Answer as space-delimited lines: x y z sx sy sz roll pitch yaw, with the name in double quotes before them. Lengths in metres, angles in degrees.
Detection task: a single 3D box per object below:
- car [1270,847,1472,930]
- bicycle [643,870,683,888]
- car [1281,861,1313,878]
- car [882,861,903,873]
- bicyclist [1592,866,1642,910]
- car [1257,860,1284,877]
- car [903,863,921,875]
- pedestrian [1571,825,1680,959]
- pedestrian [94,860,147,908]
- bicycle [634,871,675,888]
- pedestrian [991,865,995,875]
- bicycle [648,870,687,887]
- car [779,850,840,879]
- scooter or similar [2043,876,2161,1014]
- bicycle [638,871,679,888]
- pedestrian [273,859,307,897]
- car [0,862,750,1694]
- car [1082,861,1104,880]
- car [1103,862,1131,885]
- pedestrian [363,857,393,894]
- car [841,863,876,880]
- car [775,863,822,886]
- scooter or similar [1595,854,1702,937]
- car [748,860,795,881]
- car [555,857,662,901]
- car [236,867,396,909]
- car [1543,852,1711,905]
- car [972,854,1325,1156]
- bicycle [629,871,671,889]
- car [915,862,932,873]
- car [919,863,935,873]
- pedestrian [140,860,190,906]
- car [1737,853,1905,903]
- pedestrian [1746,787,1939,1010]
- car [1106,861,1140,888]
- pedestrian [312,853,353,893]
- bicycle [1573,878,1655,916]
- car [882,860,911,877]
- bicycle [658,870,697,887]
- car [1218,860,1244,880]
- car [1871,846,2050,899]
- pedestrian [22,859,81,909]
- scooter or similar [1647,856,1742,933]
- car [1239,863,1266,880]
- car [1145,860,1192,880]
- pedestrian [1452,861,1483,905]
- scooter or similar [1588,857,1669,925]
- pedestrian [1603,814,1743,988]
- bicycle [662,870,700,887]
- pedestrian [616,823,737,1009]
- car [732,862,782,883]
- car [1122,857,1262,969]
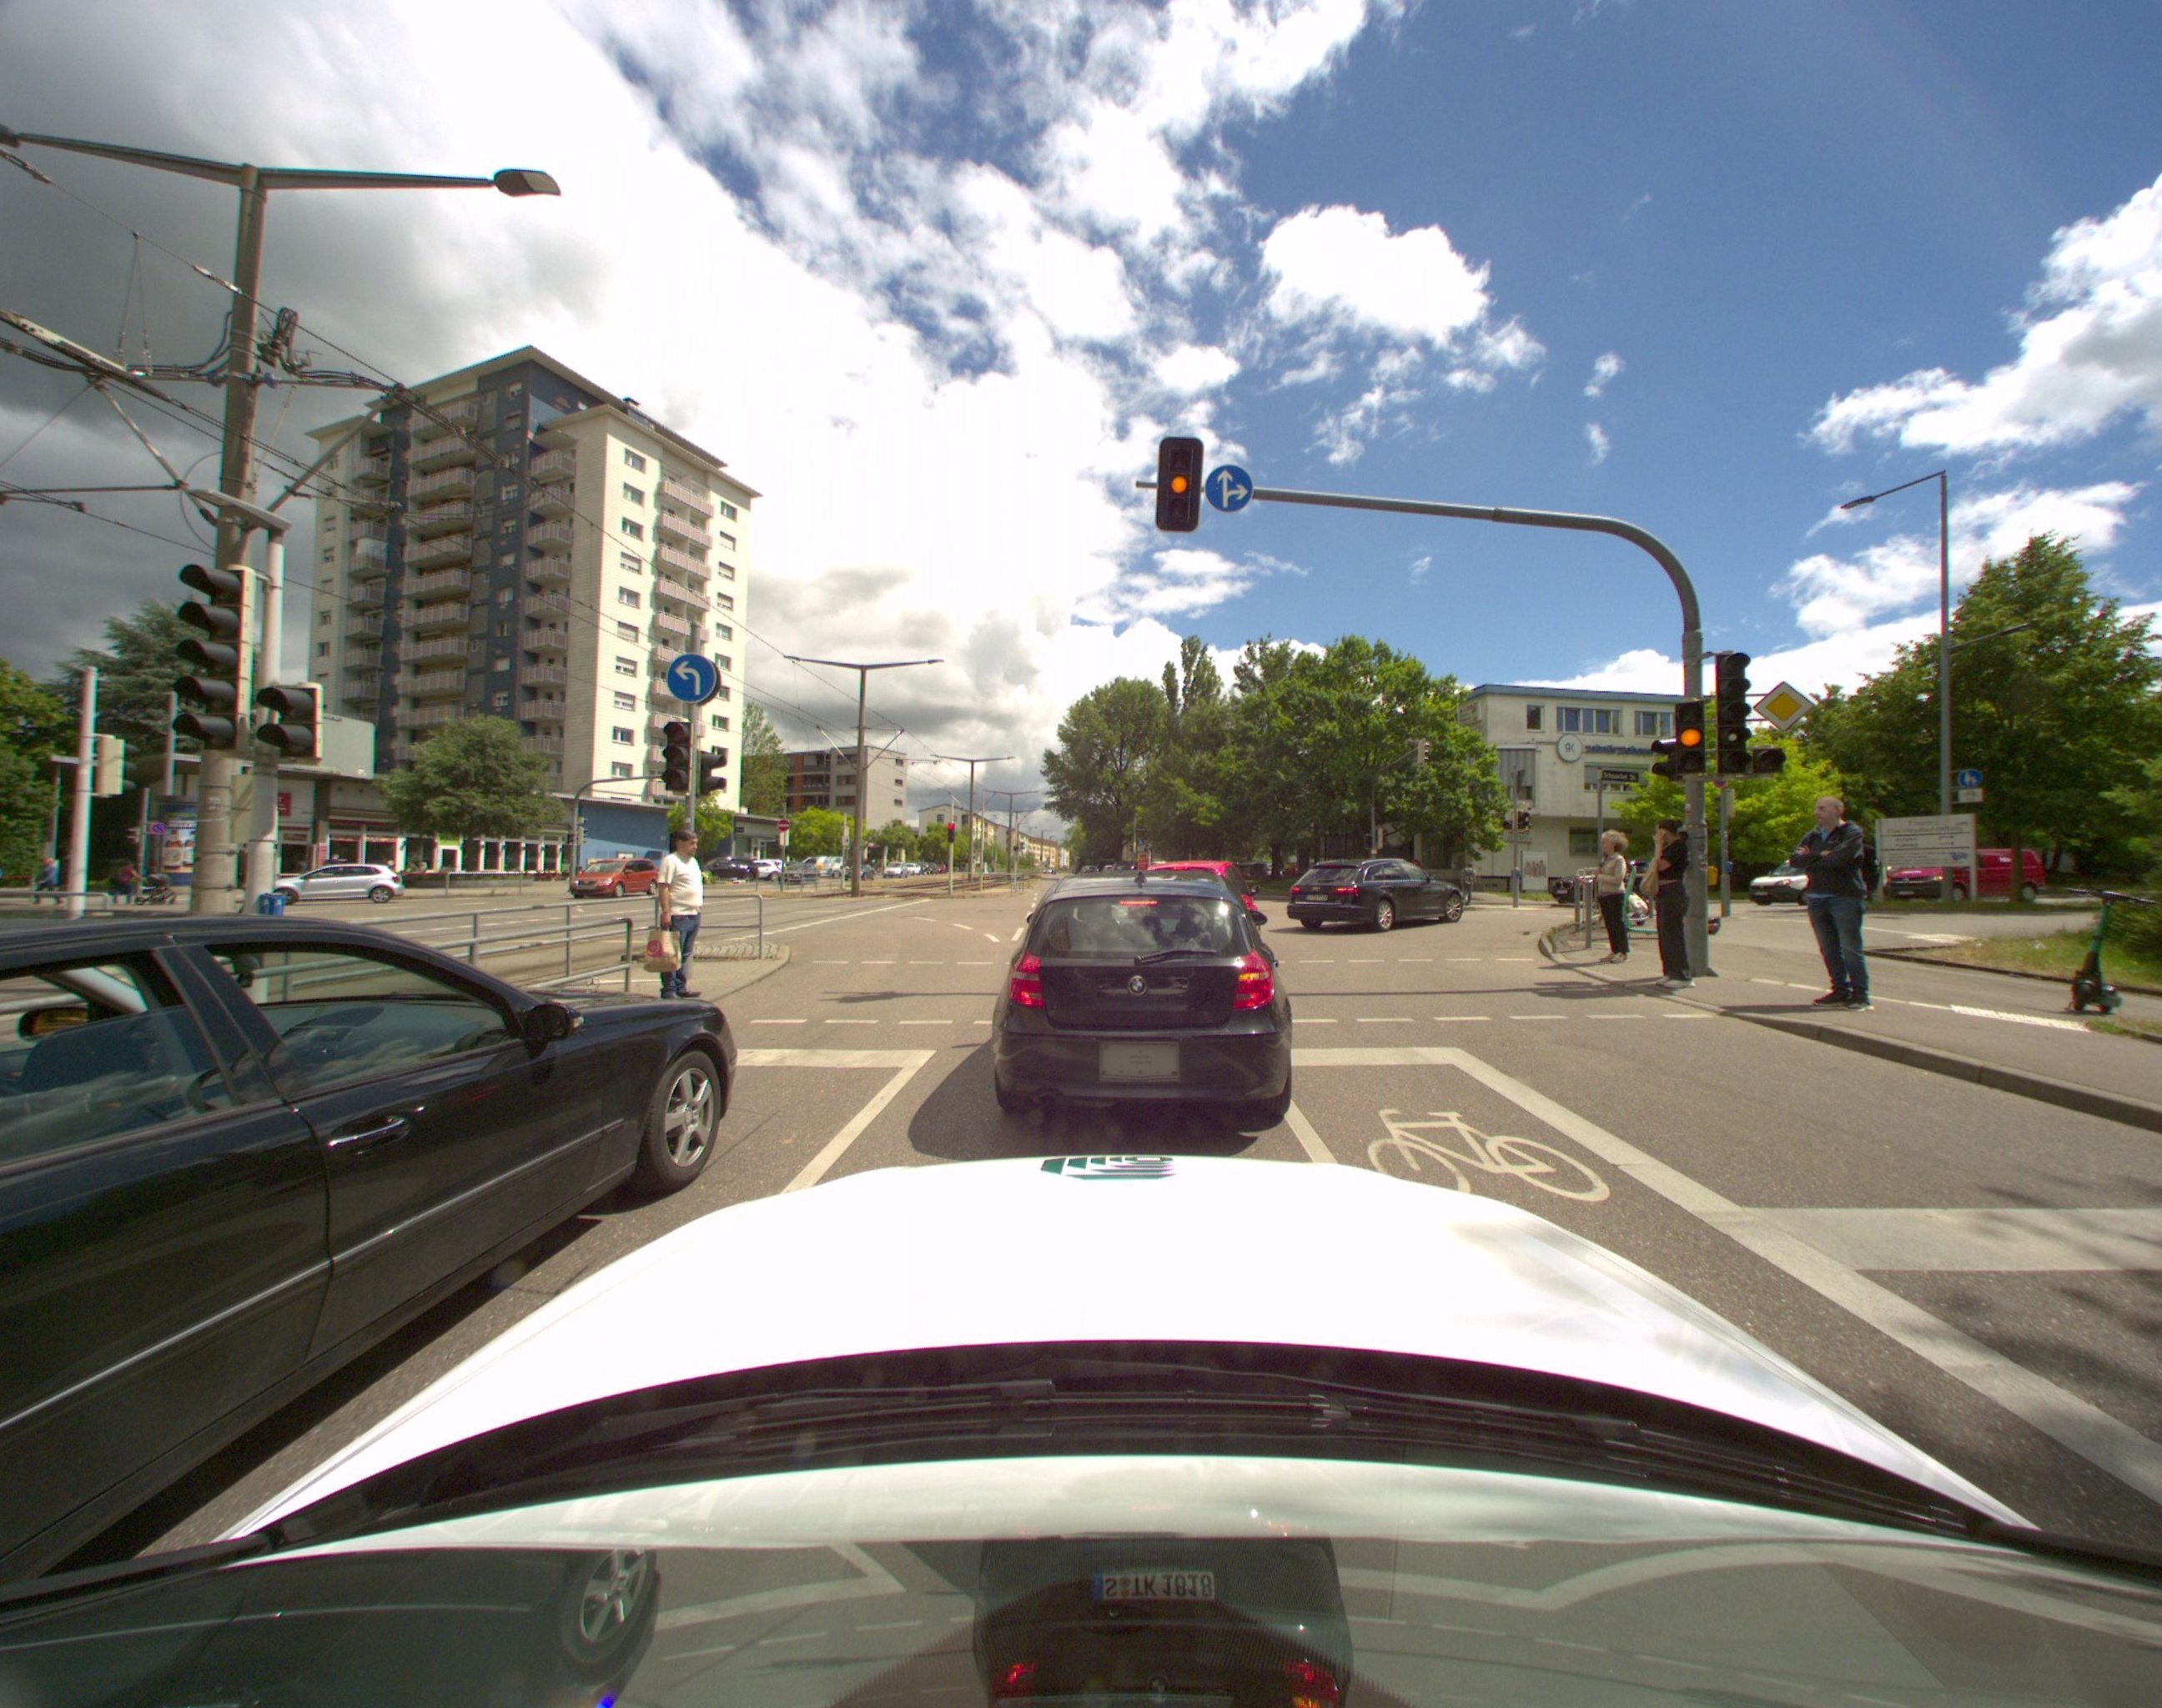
"car" 6.284 0.660 17.426 4.543 1.554 1.977 0 -1 -39
"bicycle" -23.222 1.392 45.247 1.943 0.935 0.494 0 -1 -5
"car" 20.952 1.513 79.016 1.728 1.595 3.992 0 0 -5
"car" -21.785 1.491 94.124 1.758 1.395 3.993 0 0 -5
"bicyclist" 12.830 0.798 19.513 0.789 1.022 0.635 0 -1 -2
"car" 18.308 1.392 78.638 1.626 1.595 3.998 0 0 -1
"car" -21.067 1.849 101.701 1.758 1.395 3.993 0 0 -5
"pedestrian" 7.122 0.480 10.715 0.945 1.674 0.874 -1 -1 17
"pedestrian" -33.894 1.042 28.735 0.957 1.659 1.002 -1 -1 28
"bicycle" -23.177 1.383 44.264 1.943 0.935 0.494 0 -1 -5
"pedestrian" -13.949 2.513 129.373 0.477 1.637 0.454 0 -1 1
"bicycle" -23.237 1.397 45.783 1.943 0.935 0.494 0 -1 -5
"car" -24.325 0.920 72.722 2.848 2.478 6.642 0 0 -41
"scooter or similar" 10.622 0.928 8.467 1.247 1.275 0.709 6 -1 -38
"bicycle" -23.200 1.388 44.771 1.943 0.935 0.494 0 -1 -5
"pedestrian" -33.821 1.032 34.822 0.764 1.615 0.699 0 -1 3
"car" -2.757 0.769 2.200 1.721 1.461 4.546 0 0 2
"car" 1.191 1.560 77.169 1.986 1.684 4.002 0 0 2
"car" 2.719 1.444 61.744 1.986 1.684 4.001 0 -1 2
"pedestrian" -31.767 0.966 36.831 0.767 1.615 0.695 0 -1 -12
"car" -18.558 1.453 68.133 1.629 1.399 4.492 0 -1 0
"car" -19.188 1.348 55.475 1.624 1.414 4.254 -1 1 0
"scooter or similar" 8.975 0.650 12.908 1.336 1.277 0.463 0 1 8
"car" -24.516 1.287 64.446 4.165 1.538 1.973 0 0 45
"car" -19.706 0.991 34.224 1.989 1.635 4.456 -2 0 -3
"car" -27.011 1.157 28.946 4.020 1.398 1.678 1 -2 -40
"car" 18.613 0.819 27.895 4.551 1.717 1.996 0 0 -5
"car" 0.401 0.744 6.034 1.746 1.487 4.002 0 0 2
"bicycle" -23.153 1.379 43.797 1.943 0.935 0.494 0 -1 -5
"car" -20.957 1.814 108.281 1.758 1.395 3.993 0 0 -5
"car" -21.293 1.956 112.857 1.758 1.395 3.993 0 0 -5
"pedestrian" -33.466 1.048 29.759 0.957 1.659 1.002 -1 -1 28
"car" 26.316 0.820 29.043 4.555 1.717 1.995 0 0 -8
"pedestrian" 7.035 0.384 7.574 0.963 1.942 0.896 0 0 -3
"car" 2.776 1.351 54.290 2.144 1.684 4.001 0 -1 2
"pedestrian" -36.874 0.926 40.118 0.861 1.917 1.215 0 0 2
"bicycle" 12.831 1.020 19.676 0.789 0.819 1.806 0 0 -2
"car" -18.317 1.405 81.016 1.930 1.693 3.874 0 0 2
"bicycle" -23.006 1.401 46.409 1.943 0.935 0.494 0 -1 -5
"car" 14.046 1.505 76.492 1.626 1.811 4.030 0 0 -1
"car" 31.891 0.668 29.597 4.800 1.864 1.995 0 -2 -8
"pedestrian" -35.224 1.031 27.867 0.760 1.616 0.780 4 -5 0
"scooter or similar" 10.364 0.680 13.779 1.225 1.240 0.555 2 0 -7
"car" 16.301 1.632 77.465 1.626 1.573 4.030 0 0 -1
"car" 8.138 1.501 75.679 4.001 1.823 1.766 0 0 -21
"pedestrian" 14.861 1.106 31.311 0.765 1.643 0.908 0 0 1
"scooter or similar" 9.884 0.661 14.693 1.360 1.156 0.540 1 0 -23
"pedestrian" 6.349 0.474 8.771 0.933 1.765 0.770 -1 0 -10
"bicycle" -23.033 1.405 46.900 1.943 0.935 0.494 0 -1 -5
"pedestrian" -4.117 0.606 8.338 0.866 1.808 0.741 0 0 -2
"car" -24.388 1.359 61.219 4.165 1.570 1.973 0 0 45
"car" 1.792 0.768 12.325 1.529 1.441 3.211 0 0 18
